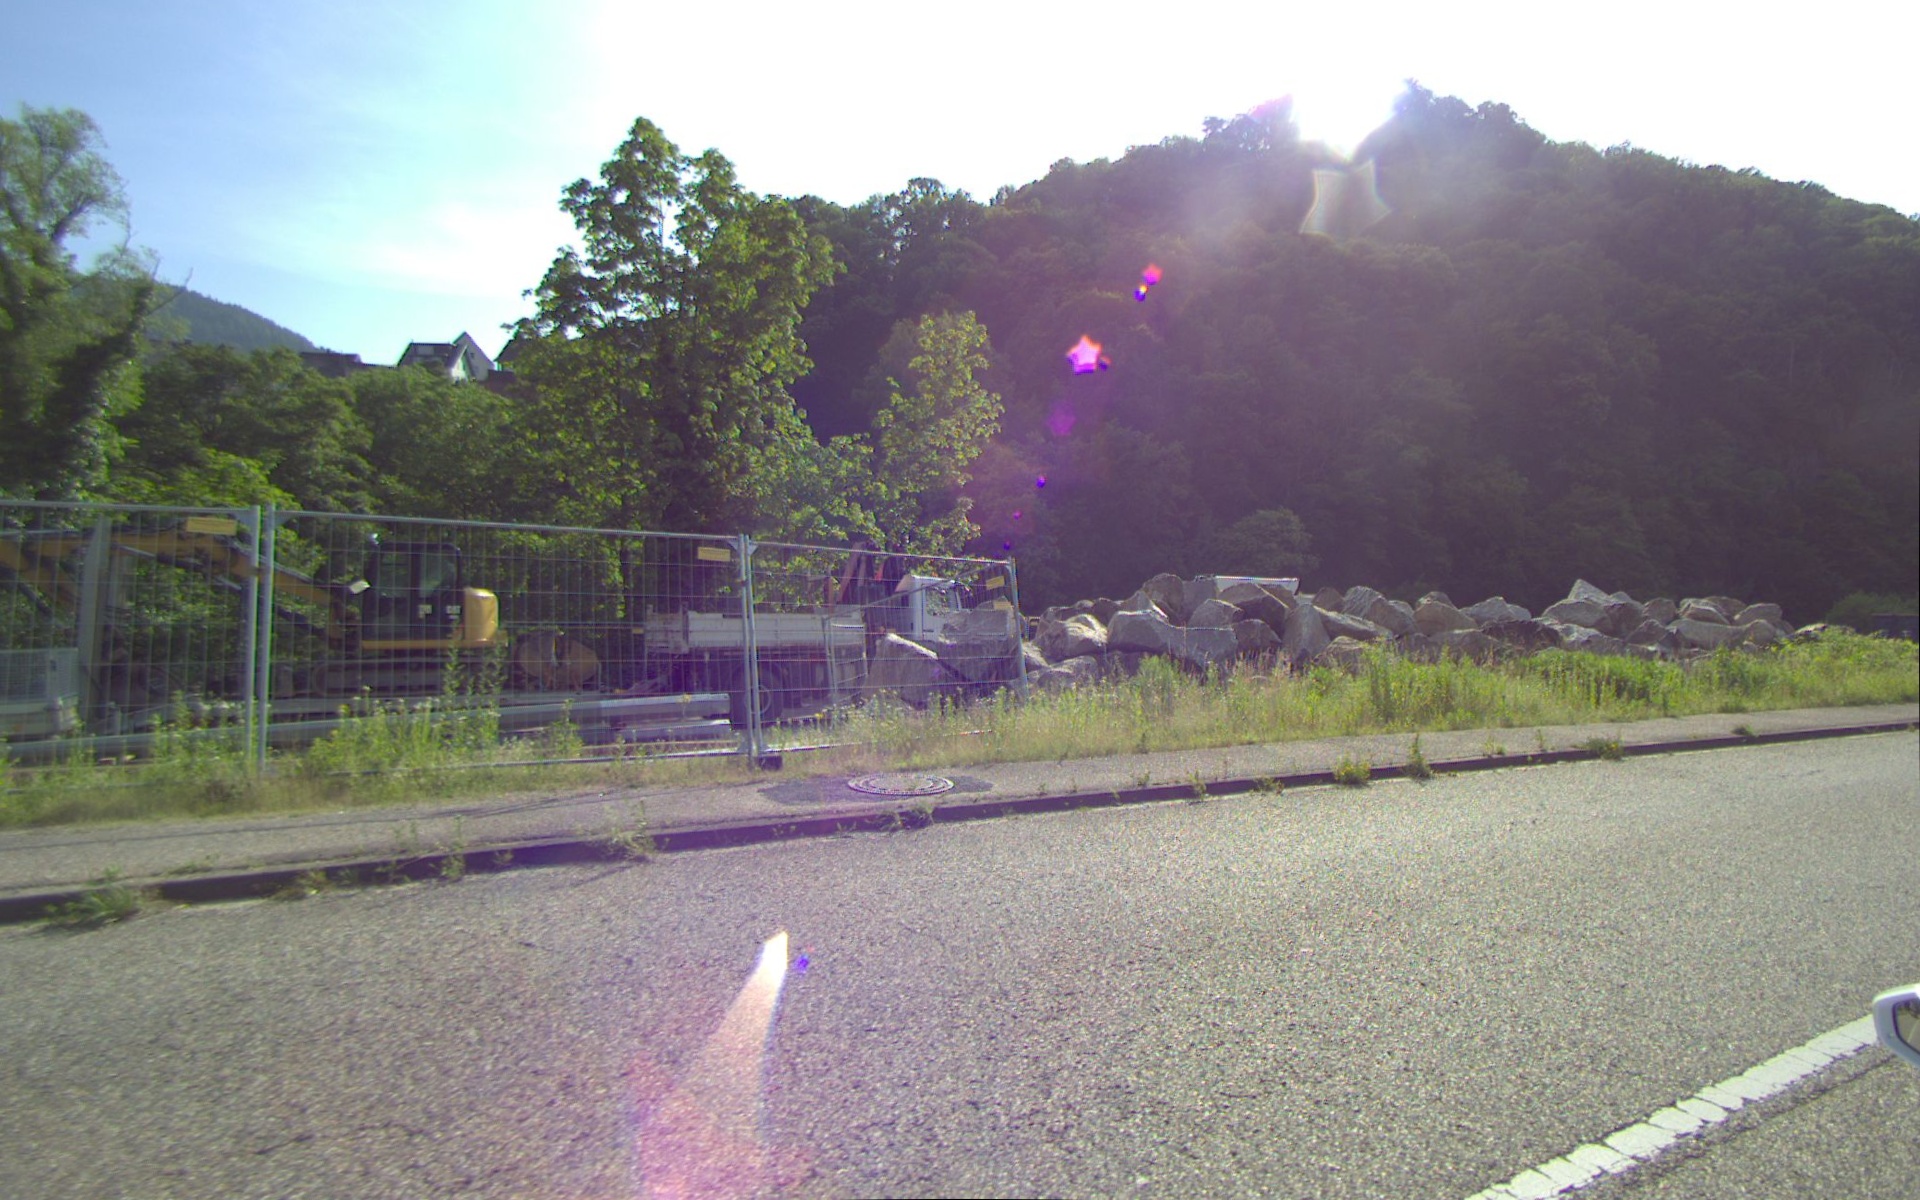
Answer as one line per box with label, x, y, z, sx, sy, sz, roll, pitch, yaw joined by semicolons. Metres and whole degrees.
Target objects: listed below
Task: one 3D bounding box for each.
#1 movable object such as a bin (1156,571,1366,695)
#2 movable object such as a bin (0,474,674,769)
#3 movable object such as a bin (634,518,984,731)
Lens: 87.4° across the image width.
movable object such as a bin;10.794;1.216;35.743;7.728;3.998;2.881;1;-3;-34
movable object such as a bin;-10.186;0.442;17.169;9.888;3.998;2.683;2;-3;-34
movable object such as a bin;-3.155;0.589;21.995;7.154;3.998;2.705;1;-3;-34
